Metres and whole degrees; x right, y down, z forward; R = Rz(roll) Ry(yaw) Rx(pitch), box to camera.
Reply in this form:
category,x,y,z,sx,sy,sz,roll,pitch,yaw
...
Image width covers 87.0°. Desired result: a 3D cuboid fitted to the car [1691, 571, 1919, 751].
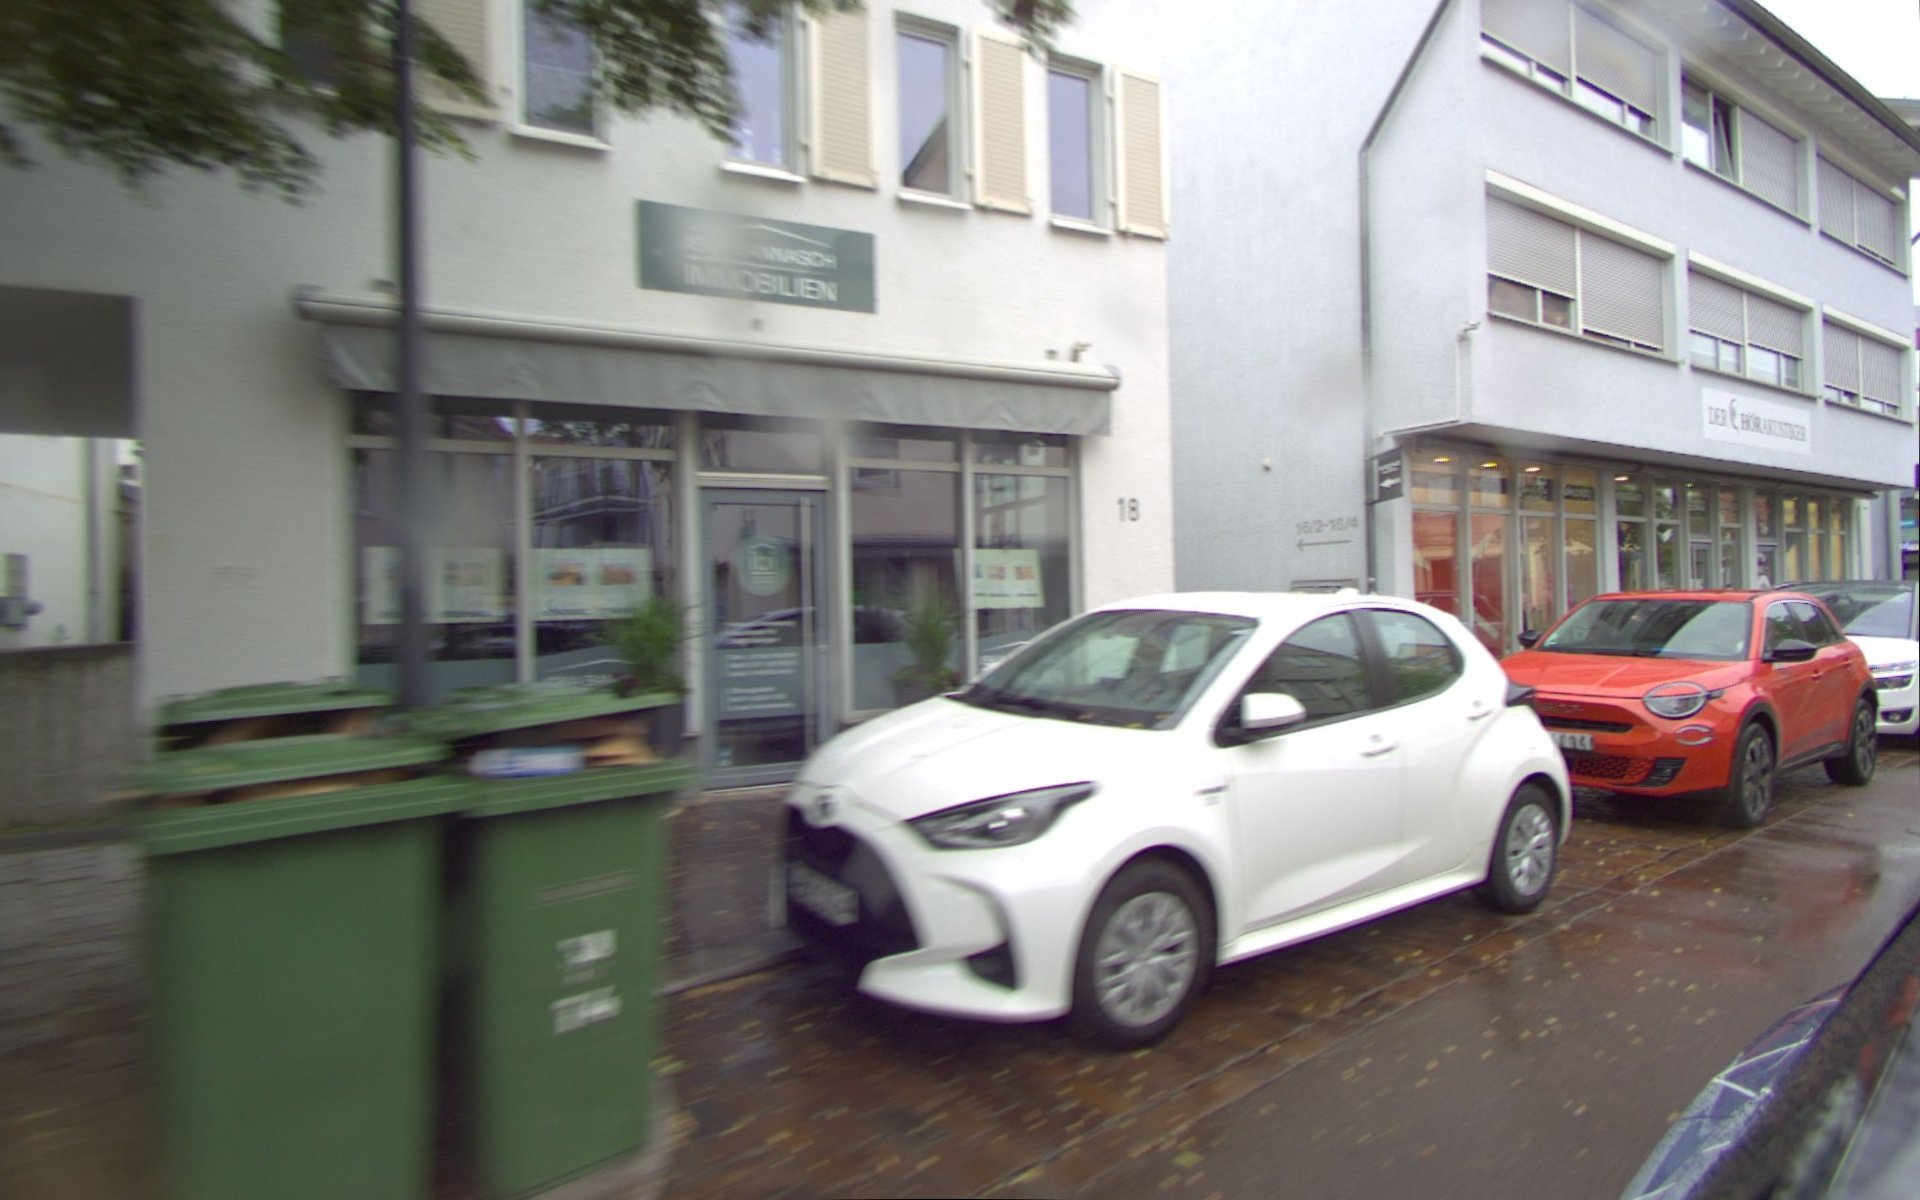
category,x,y,z,sx,sy,sz,roll,pitch,yaw
car,9.906,0.531,11.092,4.357,1.619,1.792,-1,-1,-36

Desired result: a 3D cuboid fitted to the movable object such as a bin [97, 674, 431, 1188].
category,x,y,z,sx,sy,sz,roll,pitch,yaw
movable object such as a bin,-1.949,0.822,2.856,0.715,1.157,0.539,0,0,-39

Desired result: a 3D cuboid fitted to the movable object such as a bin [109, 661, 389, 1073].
category,x,y,z,sx,sy,sz,roll,pitch,yaw
movable object such as a bin,-2.377,0.809,3.403,0.715,1.145,0.539,0,0,-39

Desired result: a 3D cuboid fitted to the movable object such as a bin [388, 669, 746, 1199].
category,x,y,z,sx,sy,sz,roll,pitch,yaw
movable object such as a bin,-1.041,0.769,2.659,0.725,1.106,0.601,-2,0,45

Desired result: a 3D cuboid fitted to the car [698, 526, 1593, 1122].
category,x,y,z,sx,sy,sz,roll,pitch,yaw
car,1.018,0.564,4.553,3.876,1.575,1.793,-1,0,-36

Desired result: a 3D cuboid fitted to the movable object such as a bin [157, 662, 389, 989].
category,x,y,z,sx,sy,sz,roll,pitch,yaw
movable object such as a bin,-2.723,0.825,4.017,0.715,1.096,0.539,0,0,-39

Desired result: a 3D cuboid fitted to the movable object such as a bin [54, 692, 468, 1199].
category,x,y,z,sx,sy,sz,roll,pitch,yaw
movable object such as a bin,-1.538,0.795,2.214,0.725,1.096,0.595,-2,0,45

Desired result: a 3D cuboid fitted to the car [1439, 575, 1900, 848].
category,x,y,z,sx,sy,sz,roll,pitch,yaw
car,5.549,0.633,7.766,3.878,1.487,1.792,-3,1,-38

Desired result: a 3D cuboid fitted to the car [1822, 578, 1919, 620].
category,x,y,z,sx,sy,sz,roll,pitch,yaw
car,38.121,-0.060,41.667,1.769,1.574,3.923,-2,0,-2
